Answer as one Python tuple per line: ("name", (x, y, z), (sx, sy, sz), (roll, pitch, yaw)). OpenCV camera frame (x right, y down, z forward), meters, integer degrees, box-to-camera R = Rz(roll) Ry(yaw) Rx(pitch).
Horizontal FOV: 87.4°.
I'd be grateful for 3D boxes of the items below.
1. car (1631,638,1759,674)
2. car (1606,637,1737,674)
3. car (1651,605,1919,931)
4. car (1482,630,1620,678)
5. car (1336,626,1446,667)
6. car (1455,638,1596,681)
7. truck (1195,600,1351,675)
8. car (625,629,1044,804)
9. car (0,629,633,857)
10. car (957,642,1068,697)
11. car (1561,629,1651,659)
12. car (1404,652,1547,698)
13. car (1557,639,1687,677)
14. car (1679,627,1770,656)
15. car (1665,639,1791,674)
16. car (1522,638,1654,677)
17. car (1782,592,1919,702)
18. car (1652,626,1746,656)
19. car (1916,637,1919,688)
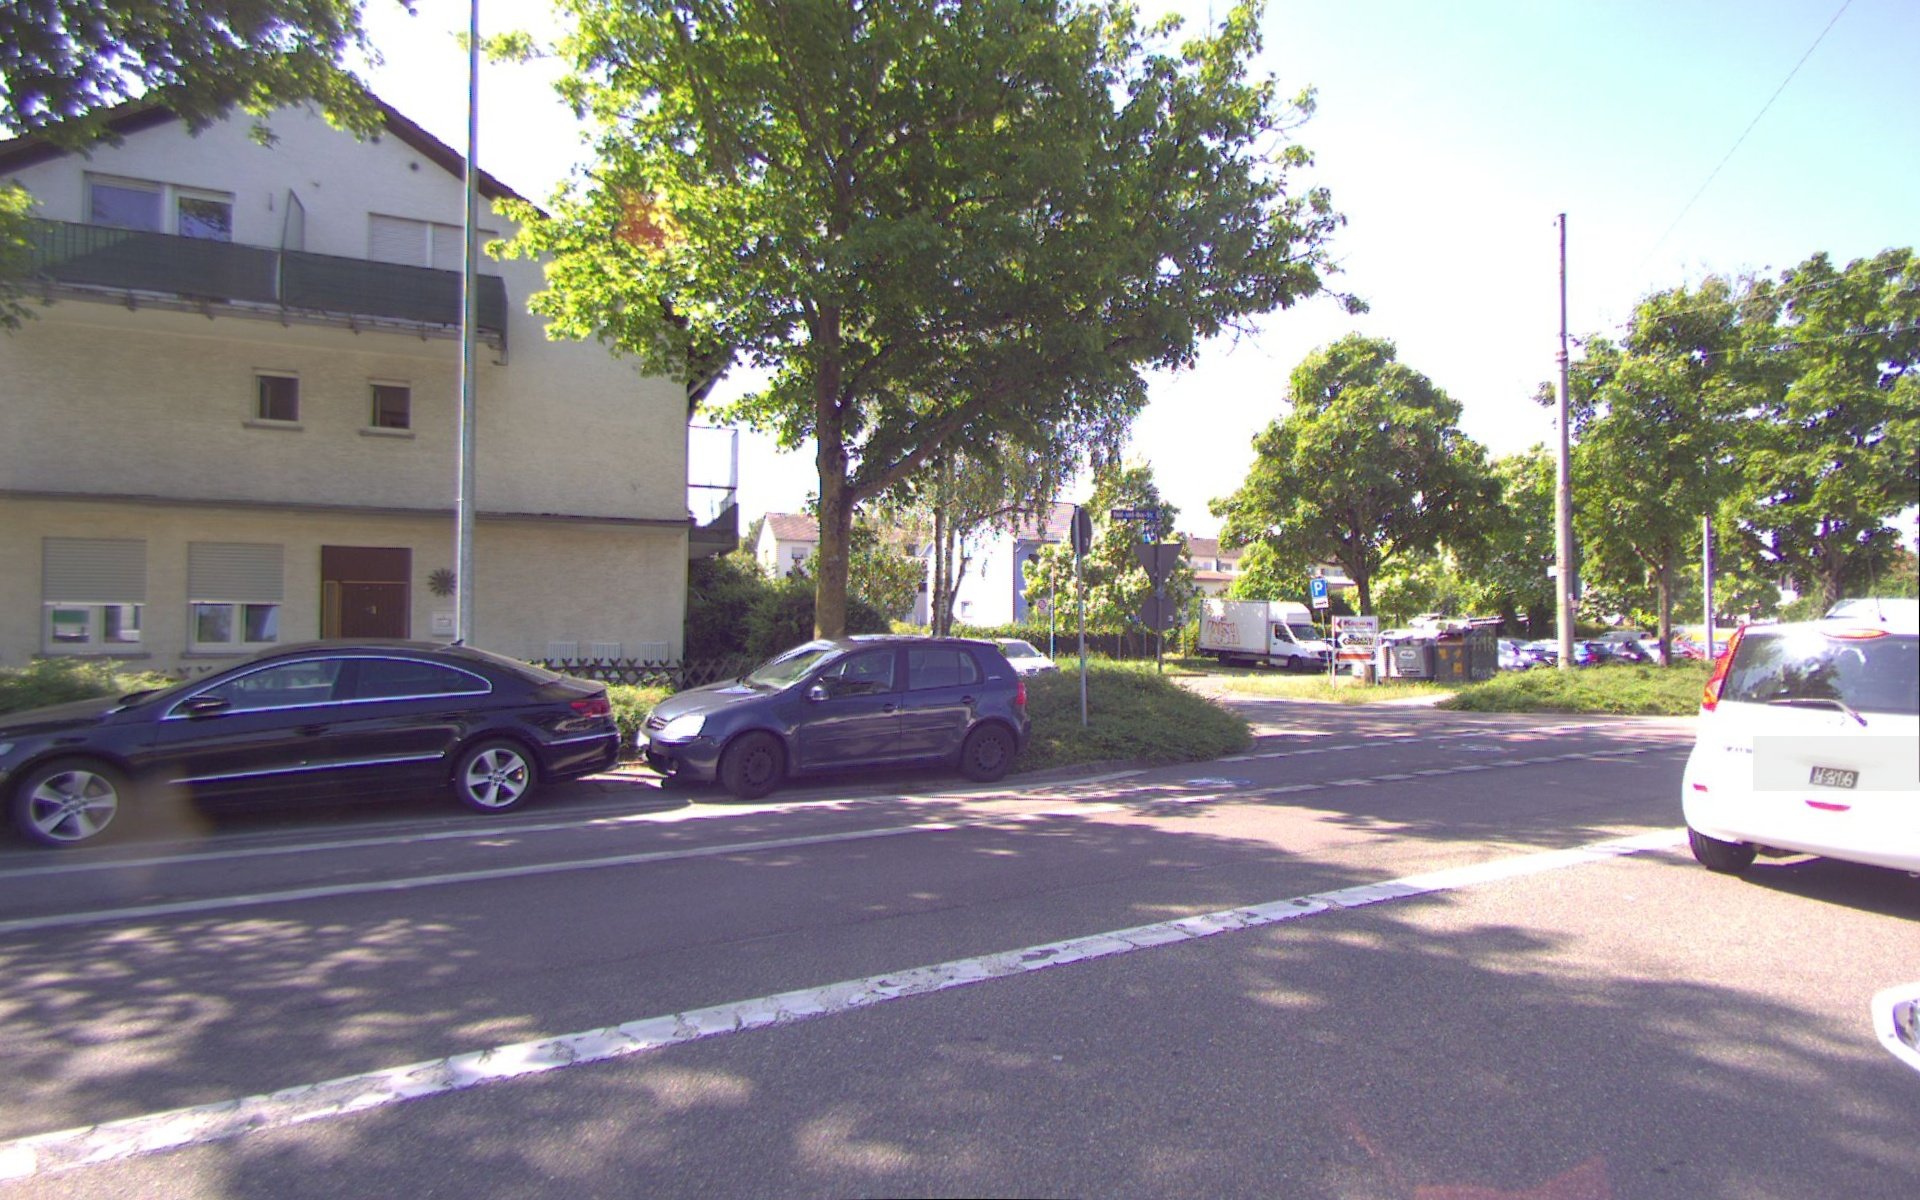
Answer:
("car", (30.730, 2.337, 42.088), (1.712, 1.434, 3.964), (2, -4, -33))
("car", (28.819, 2.247, 40.787), (1.712, 1.434, 3.964), (2, -4, -33))
("car", (6.405, 0.854, 6.273), (4.491, 1.568, 1.655), (1, -1, -29))
("car", (21.403, 1.974, 36.511), (1.712, 1.631, 3.964), (2, -4, -33))
("car", (21.672, 2.328, 50.707), (2.043, 1.811, 4.762), (2, 0, -34))
("car", (19.684, 2.078, 35.126), (1.712, 1.434, 3.964), (2, -4, -33))
("truck", (14.414, 1.619, 46.825), (2.646, 3.151, 6.967), (1, 0, -30))
("car", (-1.276, 1.083, 10.463), (3.988, 1.462, 1.718), (1, 0, -28))
("car", (-5.271, 1.006, 8.357), (4.568, 1.434, 1.854), (1, 0, -31))
("car", (1.401, 1.943, 28.442), (1.704, 1.434, 3.983), (1, -3, -20))
("car", (44.505, 2.992, 69.302), (2.043, 1.811, 4.762), (2, 0, -34))
("car", (17.312, 2.492, 33.903), (1.712, 1.434, 3.964), (2, -4, -33))
("car", (26.340, 2.332, 40.100), (1.712, 1.434, 3.964), (2, -4, -33))
("car", (54.411, 2.908, 71.551), (2.043, 1.811, 4.762), (2, 0, -34))
("car", (33.152, 2.449, 43.458), (1.712, 1.434, 3.964), (2, -4, -33))
("car", (24.098, 2.213, 38.677), (1.712, 1.434, 3.964), (2, -4, -33))
("car", (23.783, 1.144, 25.779), (5.745, 2.550, 2.114), (1, 0, -29))
("car", (50.496, 2.775, 68.698), (2.043, 1.811, 4.762), (2, 0, -34))
("car", (29.392, 1.822, 28.753), (4.230, 1.434, 1.854), (1, 0, -31))
